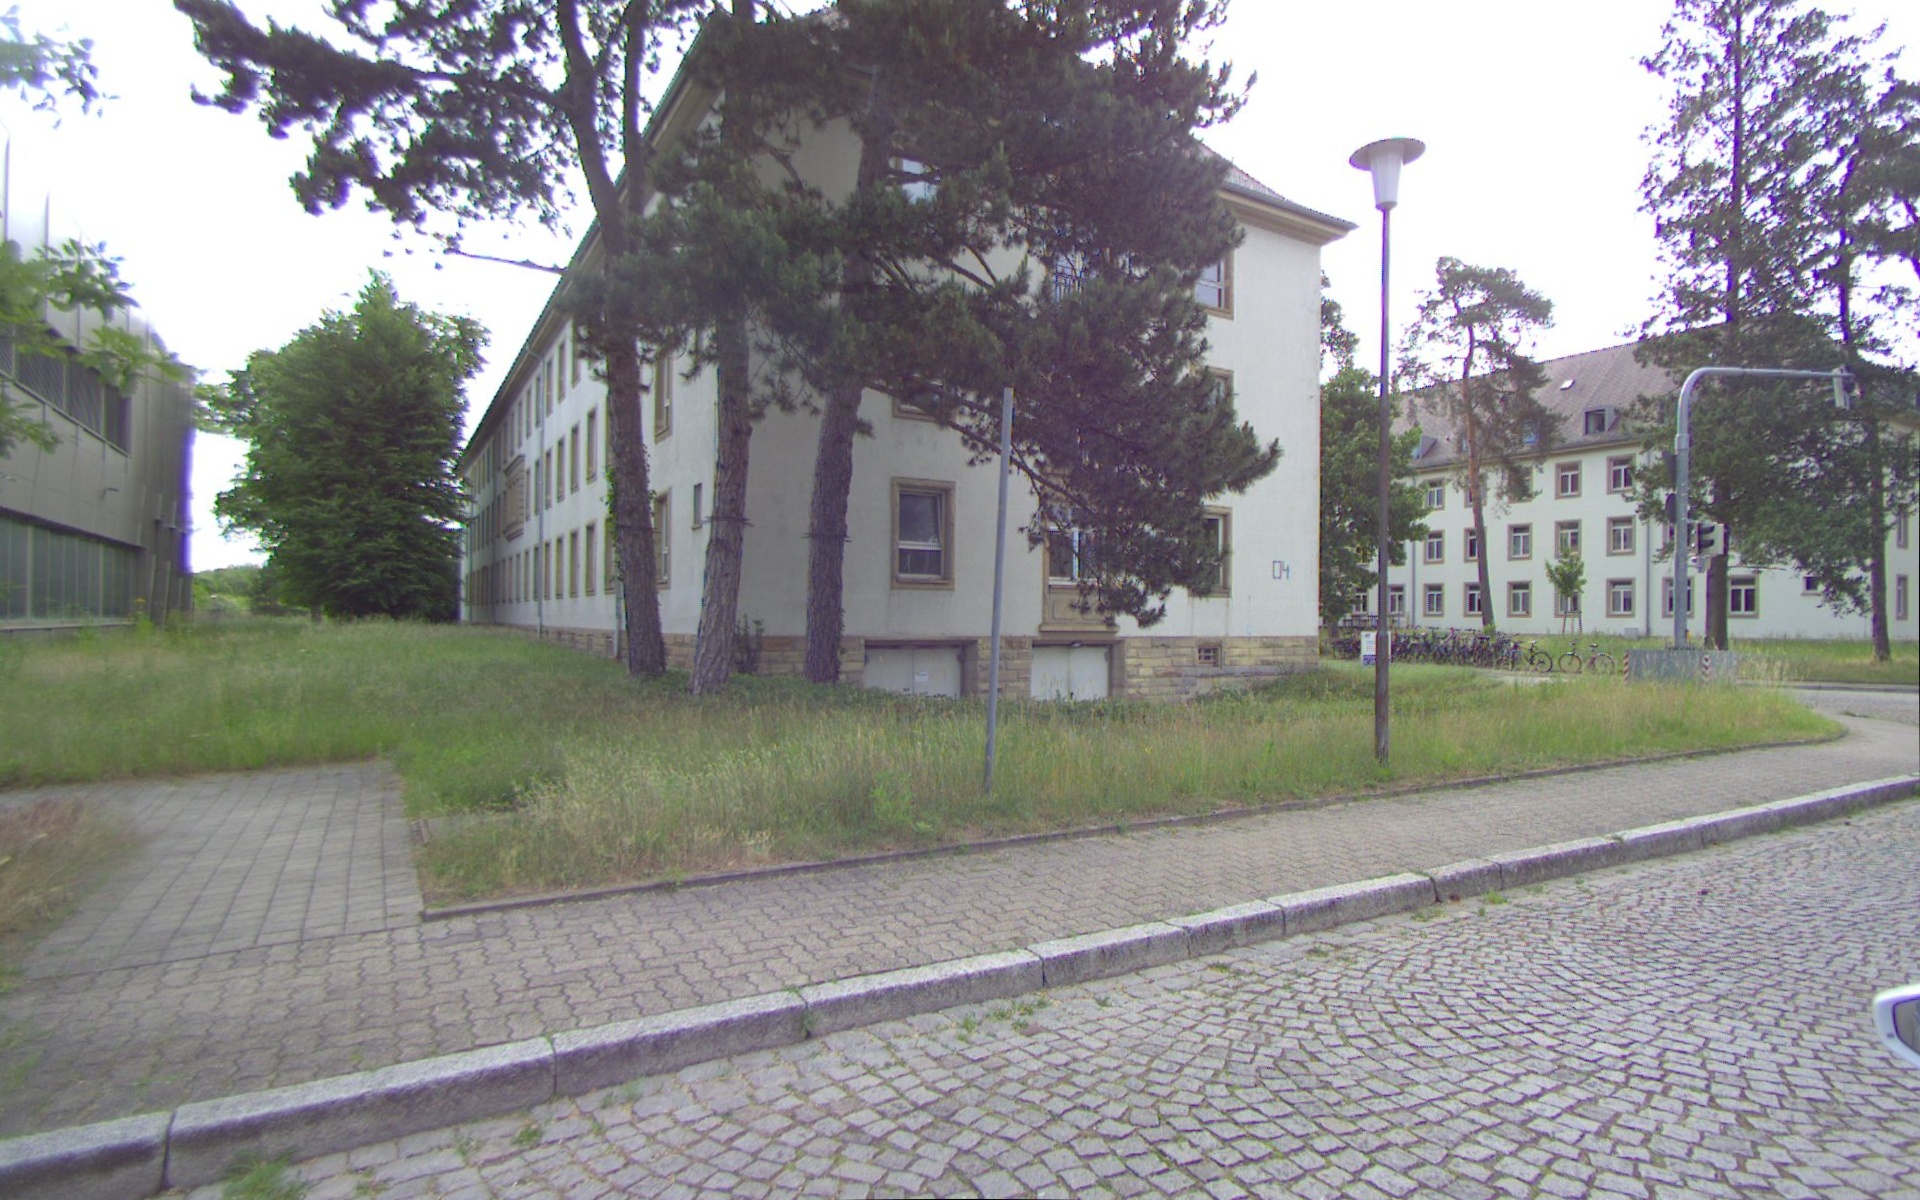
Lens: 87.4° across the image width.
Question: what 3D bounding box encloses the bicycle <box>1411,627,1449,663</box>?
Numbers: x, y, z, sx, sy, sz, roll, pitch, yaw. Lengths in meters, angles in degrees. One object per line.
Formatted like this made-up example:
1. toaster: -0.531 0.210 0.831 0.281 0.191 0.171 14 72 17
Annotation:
1. bicycle: 17.514 1.668 37.413 1.677 1.300 0.446 1 -1 -33

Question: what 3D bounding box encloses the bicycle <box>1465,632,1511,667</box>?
1. bicycle: 18.615 1.746 35.401 1.933 1.193 0.571 1 -1 -33

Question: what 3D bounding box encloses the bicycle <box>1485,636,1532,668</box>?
1. bicycle: 19.046 1.791 34.854 1.975 1.092 0.571 1 -1 -33

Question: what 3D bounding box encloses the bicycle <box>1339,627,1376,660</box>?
1. bicycle: 15.929 1.721 40.192 1.766 1.300 0.440 1 -1 -33

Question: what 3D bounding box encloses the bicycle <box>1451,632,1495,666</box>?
1. bicycle: 18.357 1.740 35.927 1.909 1.193 0.524 1 -1 -33

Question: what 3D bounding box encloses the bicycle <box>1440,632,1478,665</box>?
1. bicycle: 18.049 1.746 36.337 1.677 1.193 0.446 1 -1 -33

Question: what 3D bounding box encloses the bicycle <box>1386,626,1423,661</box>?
1. bicycle: 16.925 1.655 38.244 1.677 1.300 0.446 1 -1 -33

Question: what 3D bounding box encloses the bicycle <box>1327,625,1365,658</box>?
1. bicycle: 15.583 1.679 40.521 1.808 1.300 0.446 1 -1 -33

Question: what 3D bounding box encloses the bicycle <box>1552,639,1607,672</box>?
1. bicycle: 19.393 1.726 31.468 0.447 1.009 1.453 1 -1 -29

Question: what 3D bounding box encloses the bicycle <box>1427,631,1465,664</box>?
1. bicycle: 17.786 1.727 36.744 1.677 1.193 0.446 1 -1 -33

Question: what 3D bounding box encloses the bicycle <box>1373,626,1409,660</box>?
1. bicycle: 16.620 1.648 38.715 1.677 1.300 0.446 1 -1 -33

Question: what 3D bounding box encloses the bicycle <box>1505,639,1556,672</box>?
1. bicycle: 18.599 1.801 32.767 0.447 1.009 1.453 1 -1 -29

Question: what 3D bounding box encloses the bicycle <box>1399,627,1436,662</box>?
1. bicycle: 17.223 1.662 37.824 1.677 1.300 0.446 1 -1 -33
